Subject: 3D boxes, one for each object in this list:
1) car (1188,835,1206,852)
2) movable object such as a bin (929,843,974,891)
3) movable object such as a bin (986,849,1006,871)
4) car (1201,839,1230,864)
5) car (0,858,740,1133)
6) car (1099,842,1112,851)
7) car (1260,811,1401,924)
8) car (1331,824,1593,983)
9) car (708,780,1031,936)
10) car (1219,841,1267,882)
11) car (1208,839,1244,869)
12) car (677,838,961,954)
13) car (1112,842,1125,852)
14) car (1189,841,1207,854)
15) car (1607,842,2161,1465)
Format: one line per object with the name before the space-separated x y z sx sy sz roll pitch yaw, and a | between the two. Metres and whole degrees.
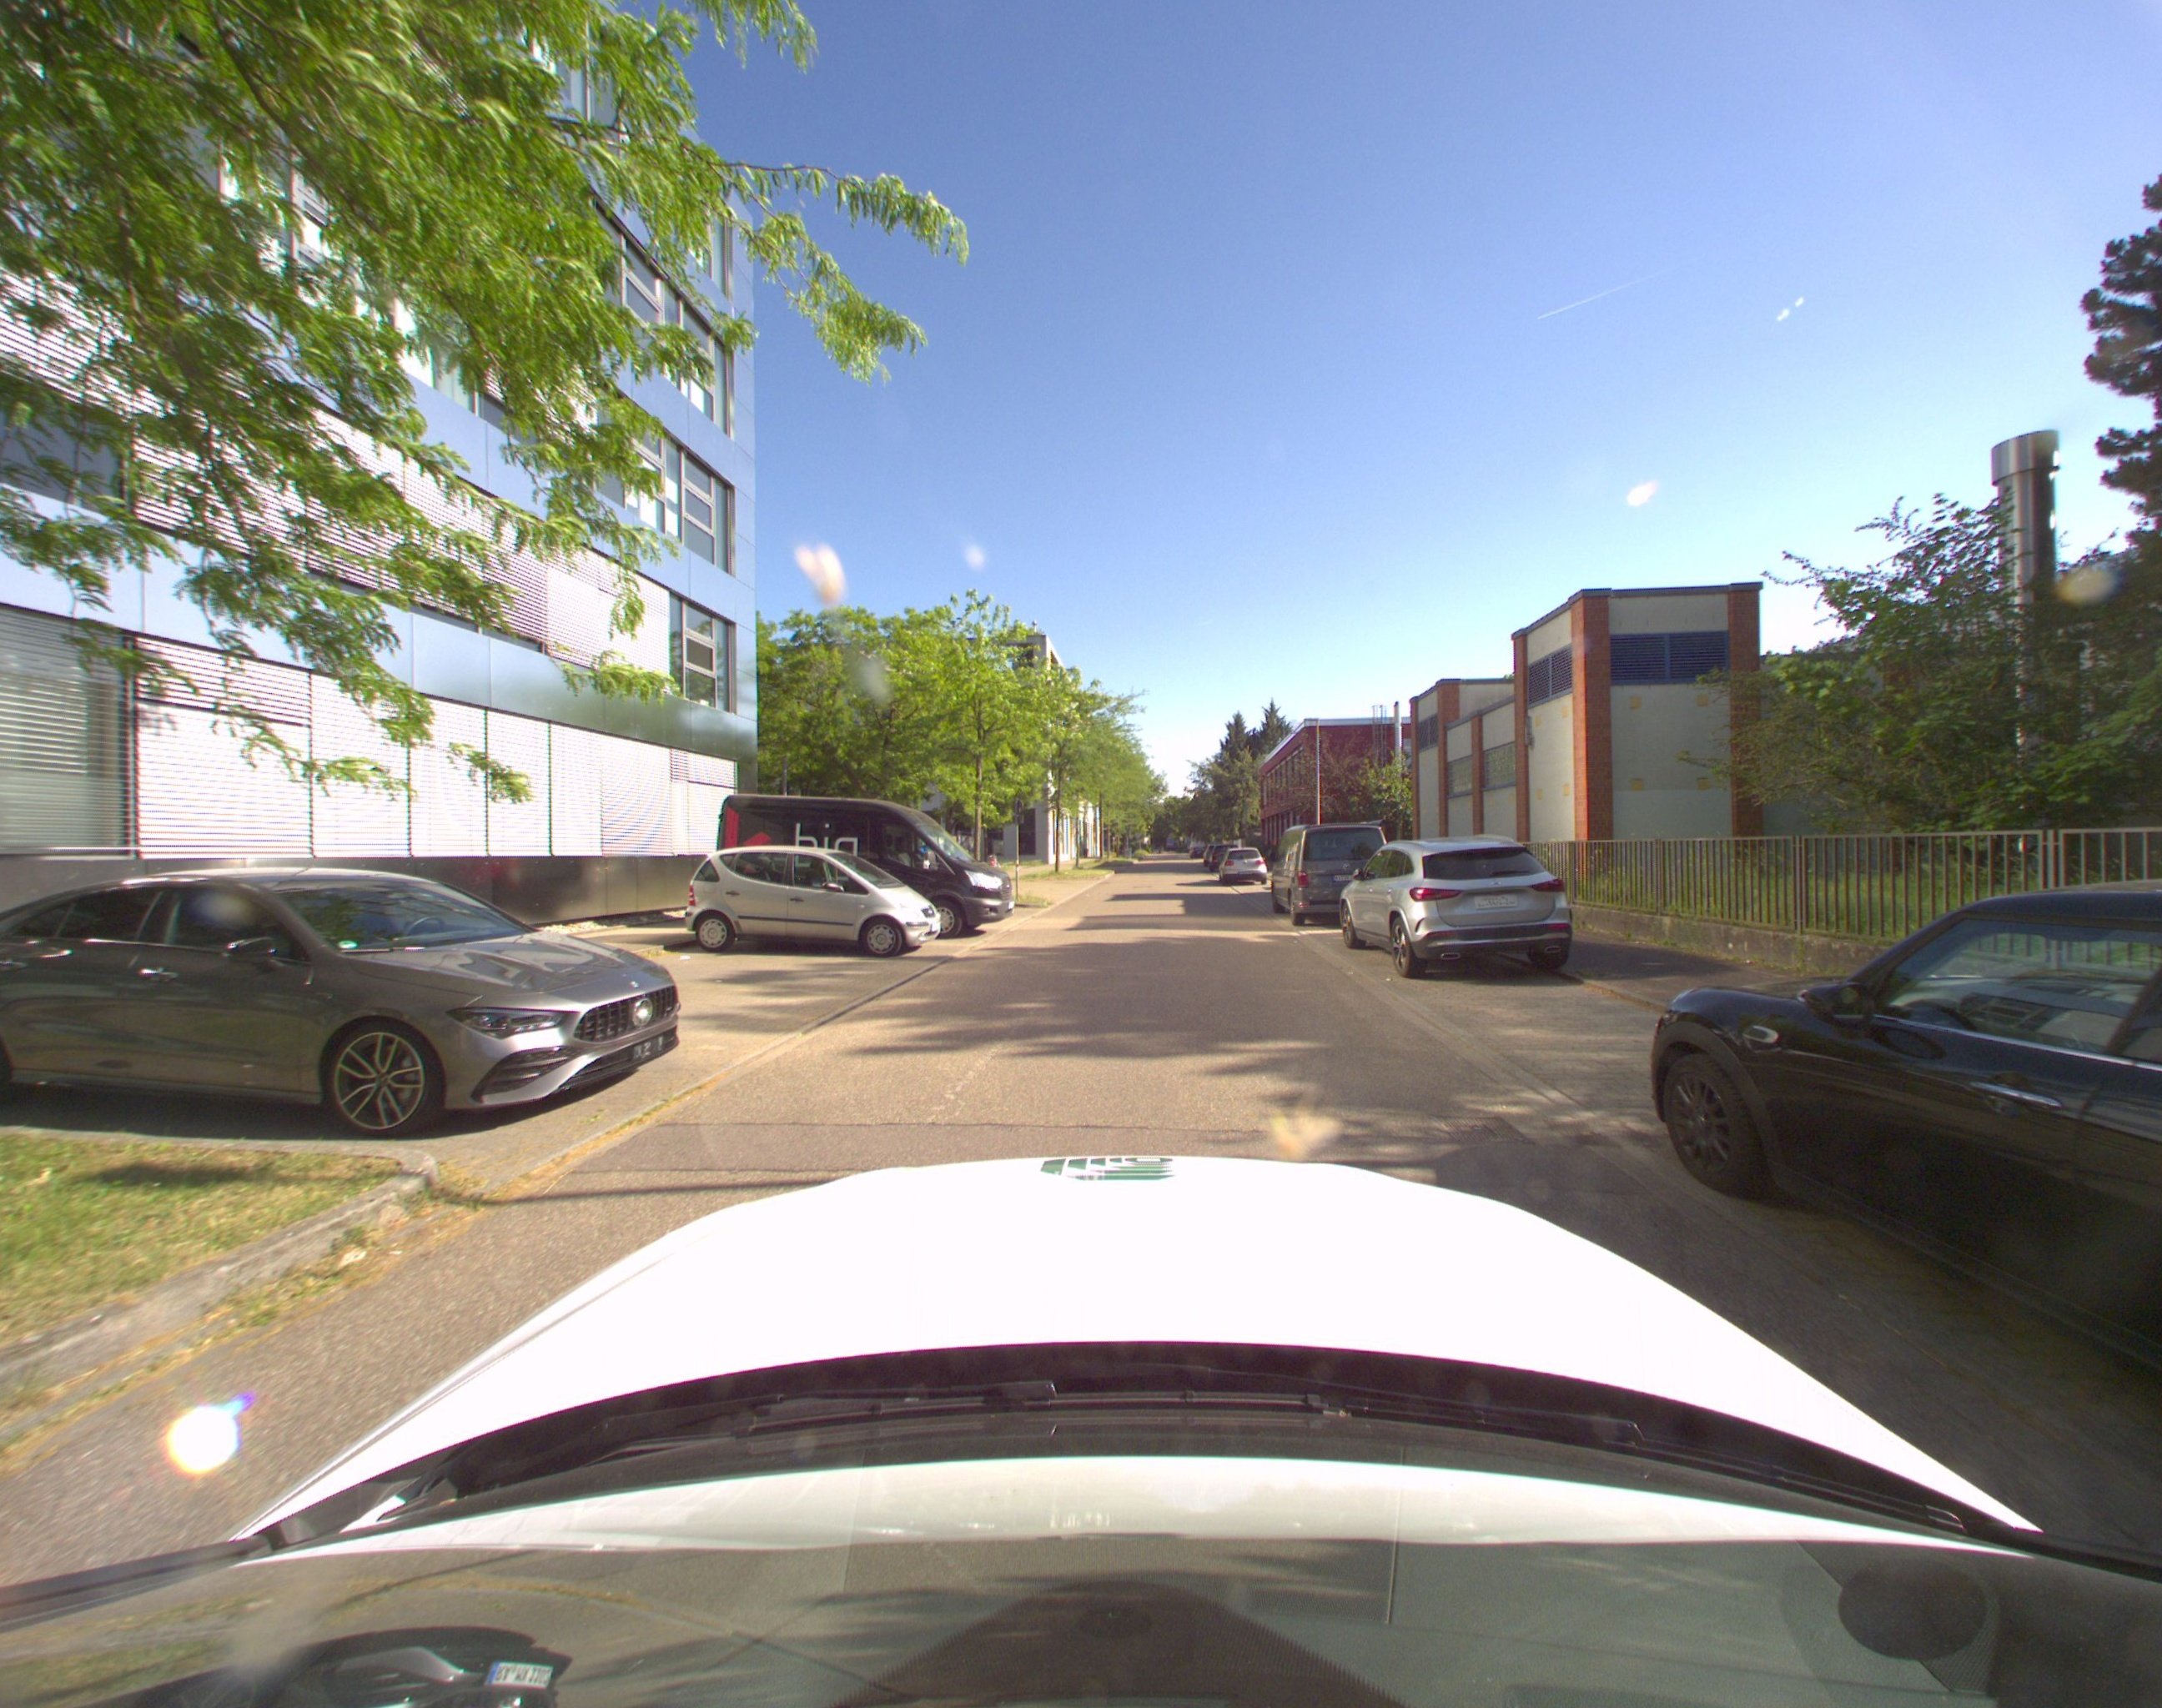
car | 13.849 -1.256 97.316 1.983 1.834 4.008 -4 1 7
movable object such as a bin | -3.964 0.381 24.898 1.294 1.413 1.223 -1 1 -12
movable object such as a bin | -4.625 0.313 44.368 0.659 1.181 1.939 -1 1 7
car | 9.668 -0.221 58.735 1.845 1.648 4.008 -2 1 7
car | -4.987 0.766 5.521 4.512 1.350 1.895 1 0 5
car | 4.091 -1.213 134.785 1.897 1.341 3.797 -1 1 3
car | 5.122 0.238 17.428 1.933 2.022 4.834 -2 0 6
car | 4.726 0.526 10.861 1.816 1.629 4.301 -3 0 6
car | -3.863 0.046 15.521 5.428 2.622 2.235 1 0 5
car | 6.575 0.262 33.381 1.651 1.561 3.943 -1 1 7
car | 8.454 -0.031 47.761 1.828 1.633 4.210 -1 1 7
car | -4.014 0.602 12.920 3.814 1.645 1.894 1 0 4
car | 5.713 -1.075 124.020 1.985 1.458 3.797 -1 0 3
car | 13.095 -0.746 91.336 1.983 1.442 4.008 -1 0 7
car | 3.492 0.728 2.430 1.644 1.472 3.770 -3 0 5
